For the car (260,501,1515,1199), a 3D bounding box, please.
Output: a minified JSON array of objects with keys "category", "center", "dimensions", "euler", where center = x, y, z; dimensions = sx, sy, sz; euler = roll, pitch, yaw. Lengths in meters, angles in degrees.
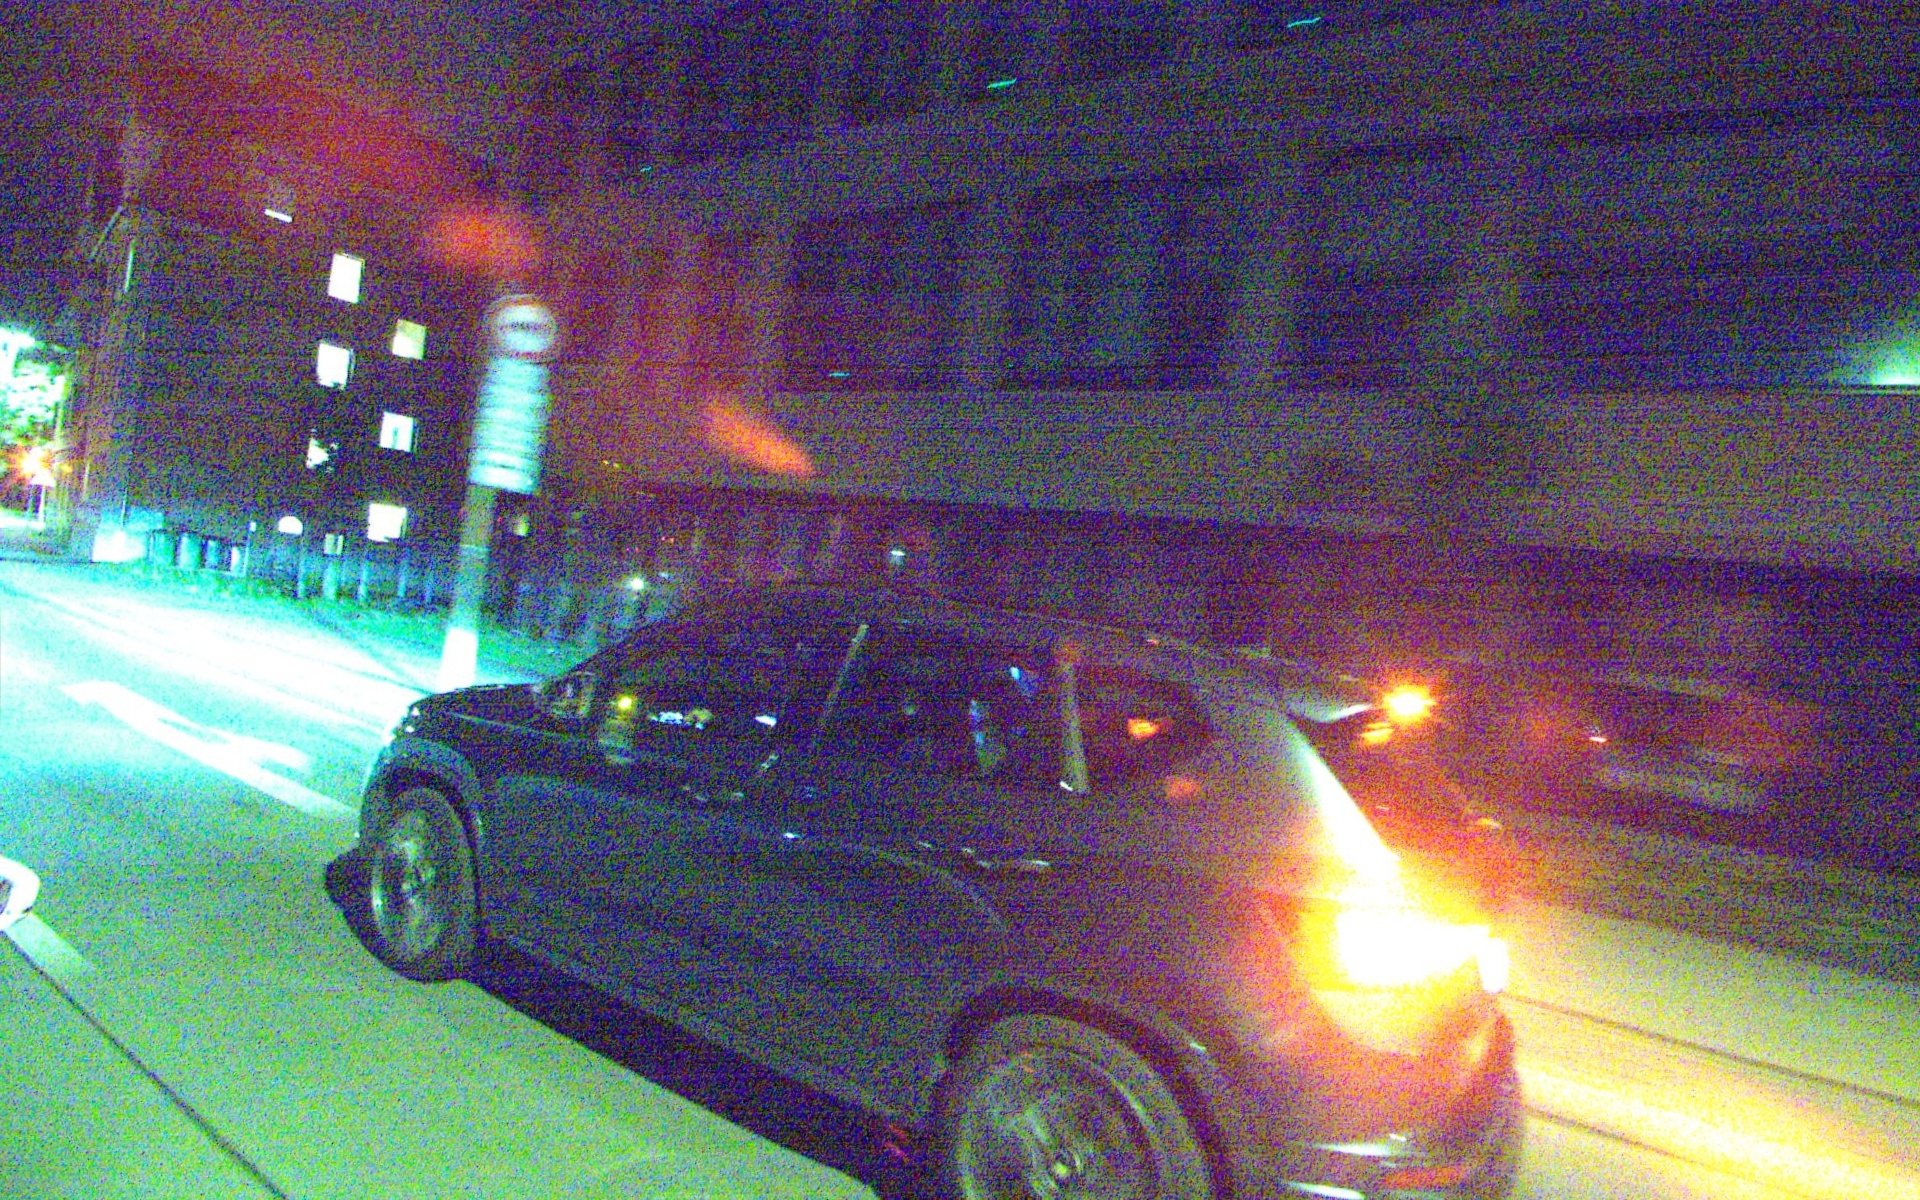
[{"category":"car","center":[-0.484,0.700,3.622],"dimensions":[4.159,1.628,1.674],"euler":[6,-2,32]}]
